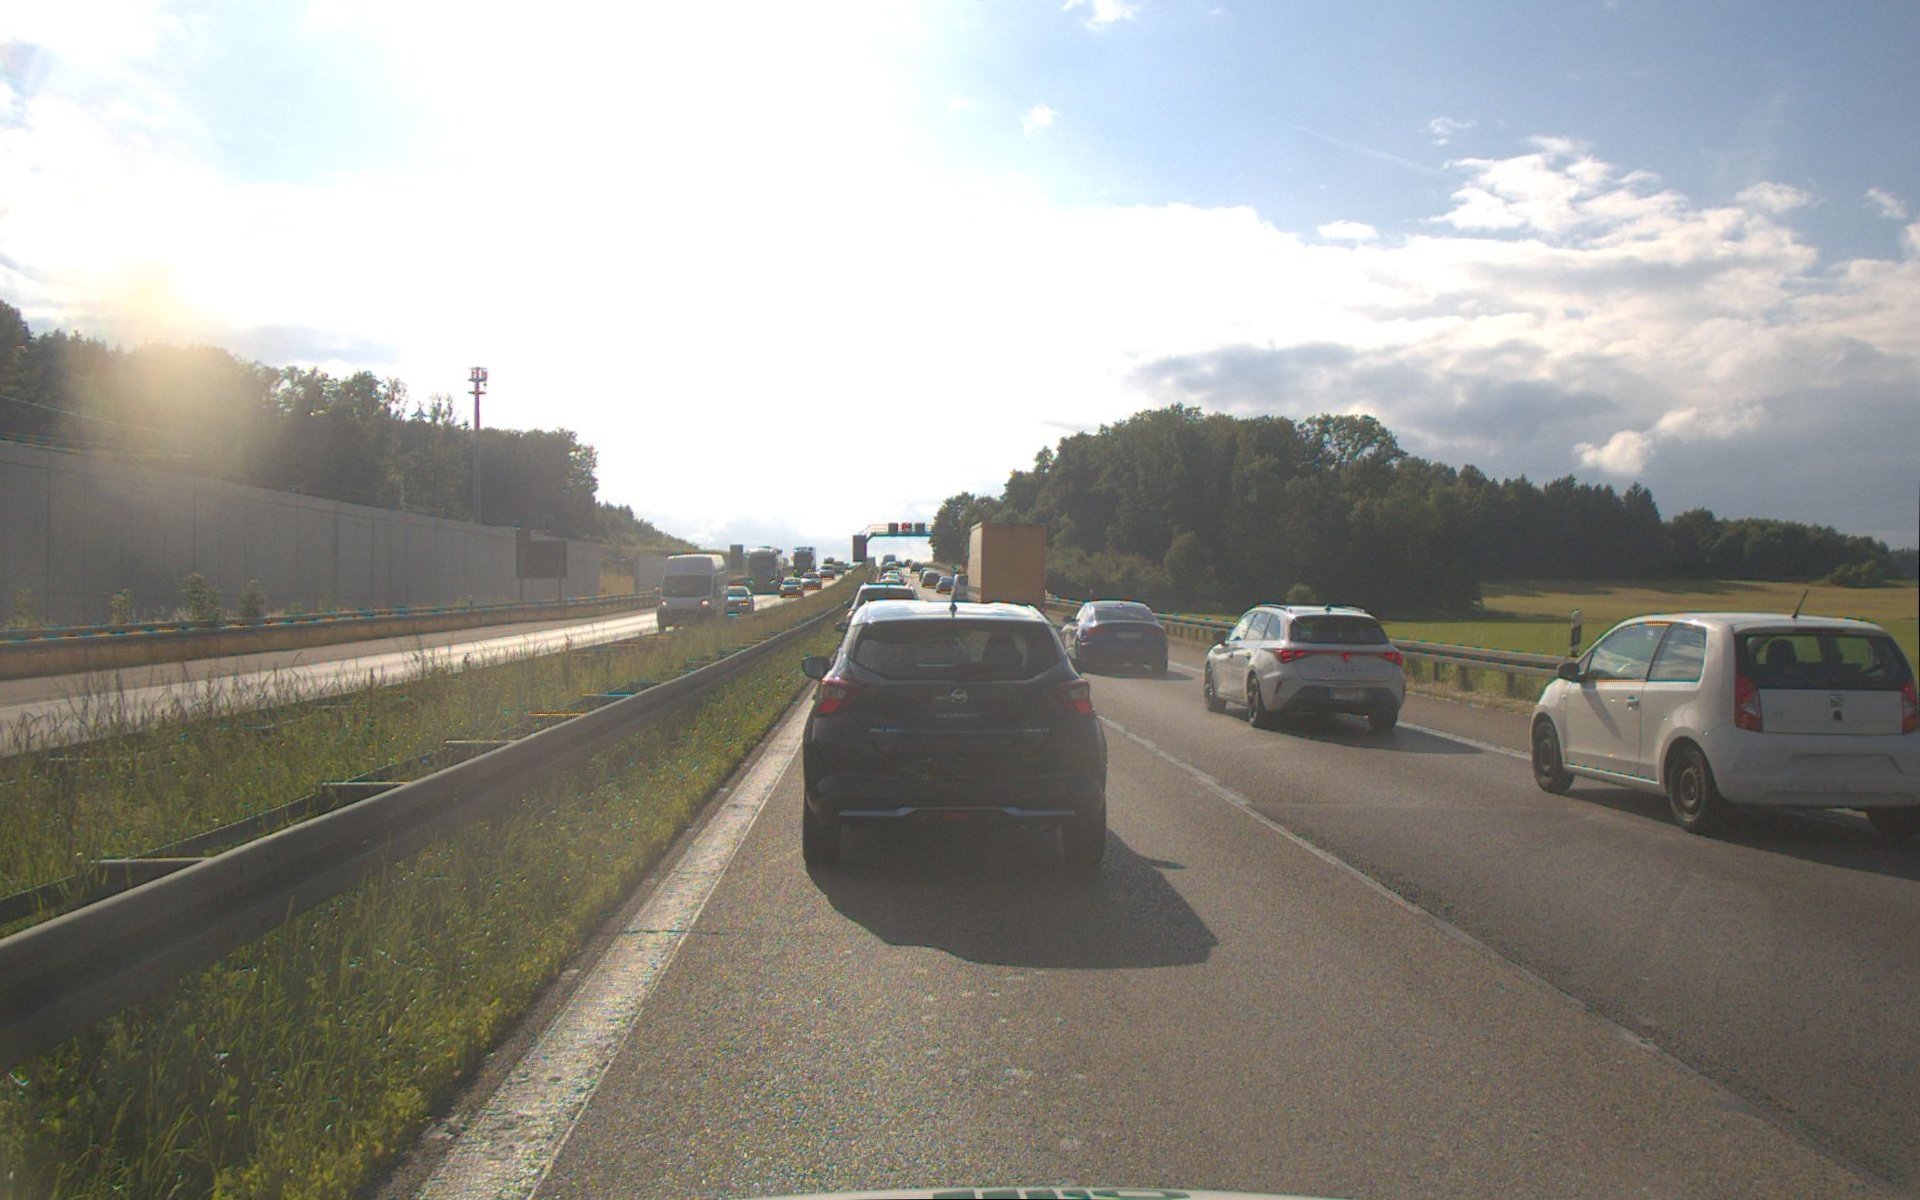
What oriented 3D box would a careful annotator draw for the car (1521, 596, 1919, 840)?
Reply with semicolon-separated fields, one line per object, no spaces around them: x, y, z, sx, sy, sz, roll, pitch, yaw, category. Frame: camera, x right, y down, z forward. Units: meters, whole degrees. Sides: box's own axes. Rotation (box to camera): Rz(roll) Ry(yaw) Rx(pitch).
5.605;0.762;12.314;1.518;1.521;3.375;1;1;-4;car

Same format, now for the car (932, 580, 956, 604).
-1.420;-0.707;146.107;1.954;2.049;3.997;1;0;-3;car

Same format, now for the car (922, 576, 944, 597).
-2.714;-1.307;164.298;1.954;2.049;3.997;1;0;-3;car

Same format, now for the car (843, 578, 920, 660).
-1.732;0.422;37.509;1.640;1.756;3.595;1;0;-1;car

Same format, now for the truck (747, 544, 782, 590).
-17.359;-2.908;147.038;2.501;3.865;5.415;-1;0;-2;truck

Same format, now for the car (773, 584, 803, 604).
-13.434;-0.461;129.602;1.953;1.512;4.397;1;0;-1;car

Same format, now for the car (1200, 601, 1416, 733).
4.237;0.764;20.747;1.588;1.471;4.143;1;0;-4;car

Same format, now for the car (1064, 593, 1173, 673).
3.172;0.647;33.806;1.712;1.501;4.145;1;0;-1;car

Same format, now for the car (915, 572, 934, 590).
-4.117;-2.203;190.845;1.954;2.049;3.997;1;0;-3;car

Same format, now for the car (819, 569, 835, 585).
-16.662;-2.915;207.025;1.822;1.866;4.279;1;0;-2;car

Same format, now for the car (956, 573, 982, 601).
0.591;-0.848;107.947;1.633;1.785;3.326;1;0;-1;car

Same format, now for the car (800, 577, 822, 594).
-14.025;-1.357;155.880;1.767;1.543;4.689;1;0;-1;car

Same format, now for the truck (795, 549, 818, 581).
-20.733;-4.687;224.253;2.699;4.162;6.950;0;0;-2;truck

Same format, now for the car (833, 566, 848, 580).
-17.229;-3.931;238.526;1.953;1.916;4.785;-2;0;-2;car

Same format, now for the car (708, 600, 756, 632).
-11.396;0.809;82.930;1.806;1.534;4.549;1;0;-1;car

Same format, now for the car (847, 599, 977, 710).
-0.658;0.711;23.044;1.640;1.391;3.595;1;0;-1;car

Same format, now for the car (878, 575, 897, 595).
-7.823;-1.634;177.526;1.954;2.049;3.997;1;0;-3;car

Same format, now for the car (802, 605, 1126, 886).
-0.001;0.771;10.356;1.675;1.451;3.377;1;0;-1;car

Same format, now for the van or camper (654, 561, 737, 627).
-9.690;-0.198;61.127;2.122;2.244;6.257;1;0;-1;van or camper

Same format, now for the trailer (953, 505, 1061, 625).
1.763;-1.318;69.526;3.478;4.535;12.714;1;0;-3;trailer

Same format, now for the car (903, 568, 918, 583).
-7.126;-3.481;237.906;1.954;2.049;3.997;1;0;-3;car
